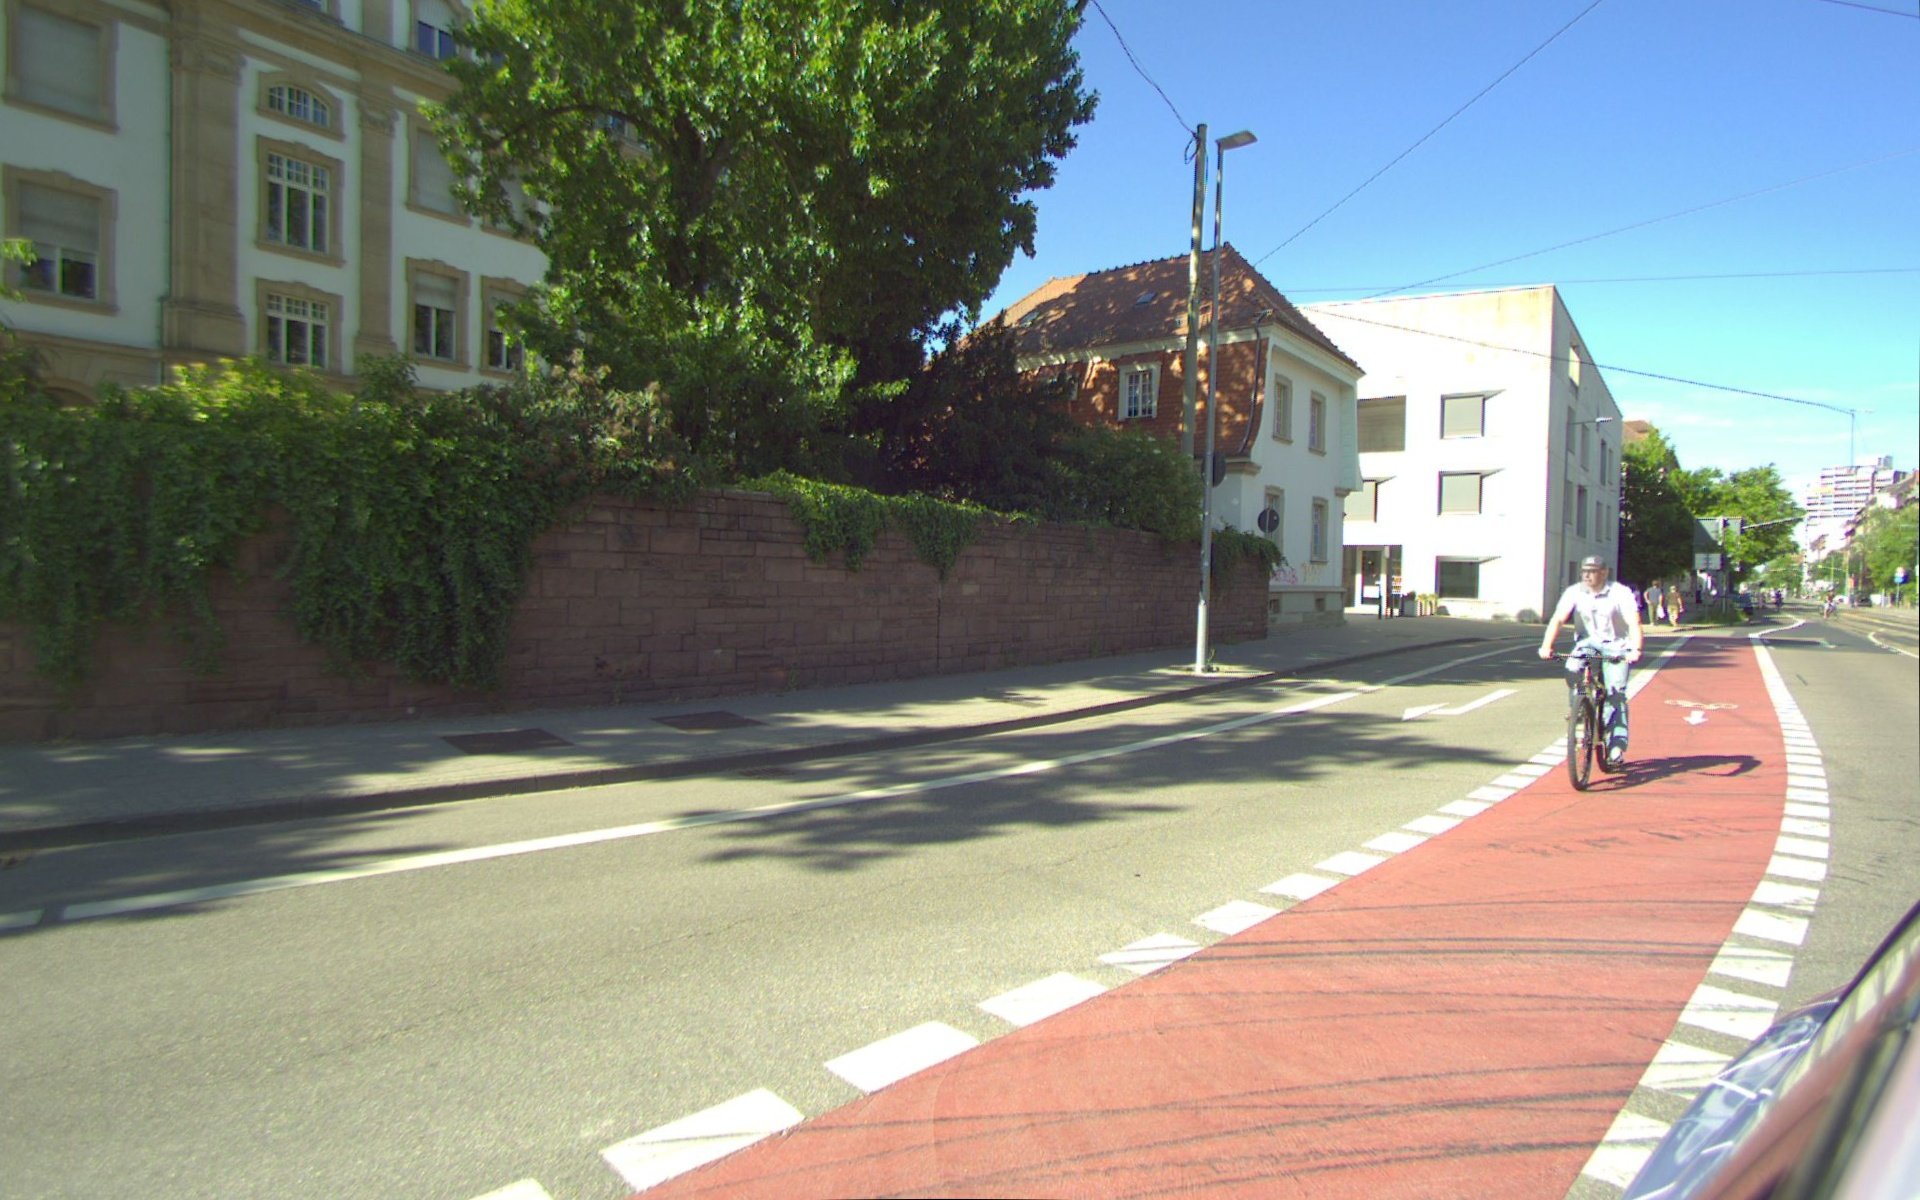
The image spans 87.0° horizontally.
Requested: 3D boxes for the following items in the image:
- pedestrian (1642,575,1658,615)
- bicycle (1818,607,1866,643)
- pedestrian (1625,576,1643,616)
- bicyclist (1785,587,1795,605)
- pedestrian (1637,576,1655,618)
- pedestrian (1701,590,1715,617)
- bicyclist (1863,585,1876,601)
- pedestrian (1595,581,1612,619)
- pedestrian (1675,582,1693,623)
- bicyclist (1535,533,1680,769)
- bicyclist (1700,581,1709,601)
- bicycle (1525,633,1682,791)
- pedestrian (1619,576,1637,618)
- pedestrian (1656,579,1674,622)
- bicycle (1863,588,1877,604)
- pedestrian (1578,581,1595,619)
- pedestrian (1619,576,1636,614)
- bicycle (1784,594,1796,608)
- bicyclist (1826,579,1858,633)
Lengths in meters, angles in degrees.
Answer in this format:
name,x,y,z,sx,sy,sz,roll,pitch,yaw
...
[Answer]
name,x,y,z,sx,sy,sz,roll,pitch,yaw
pedestrian,32.696,-0.242,47.953,0.585,1.828,0.538,2,1,38
bicycle,50.866,1.416,58.403,0.993,1.910,3.862,0,1,24
pedestrian,30.905,-0.190,46.405,0.585,1.828,0.575,2,1,38
bicyclist,68.807,-0.310,83.902,0.663,1.480,0.613,0,1,43
pedestrian,30.173,-0.139,44.542,0.585,1.828,0.538,2,1,38
pedestrian,48.912,0.209,66.171,0.676,1.760,0.918,2,2,41
bicyclist,101.715,-0.820,113.179,0.999,1.743,0.971,0,1,39
pedestrian,27.353,-0.003,43.039,0.532,1.586,0.513,2,1,38
pedestrian,31.285,0.086,43.718,0.585,1.749,0.513,2,1,38
bicyclist,5.330,0.382,8.329,0.996,1.798,0.751,0,1,-42
bicyclist,84.311,-1.070,114.637,0.810,2.234,0.970,0,1,41
bicycle,5.290,0.852,8.273,1.798,1.090,0.612,0,1,-42
pedestrian,29.692,-0.145,45.011,0.585,1.828,0.538,2,1,38
pedestrian,30.594,0.001,43.919,0.585,1.828,0.513,2,1,38
bicycle,101.724,-0.476,113.184,0.999,1.702,2.943,0,1,39
pedestrian,26.873,-0.008,43.413,0.532,1.586,0.513,2,1,38
pedestrian,31.981,-0.250,48.495,0.585,1.828,0.538,2,1,38
bicycle,68.823,0.081,83.920,0.663,1.166,1.646,0,1,42
bicyclist,50.881,0.326,58.403,0.993,3.012,1.462,0,1,25
